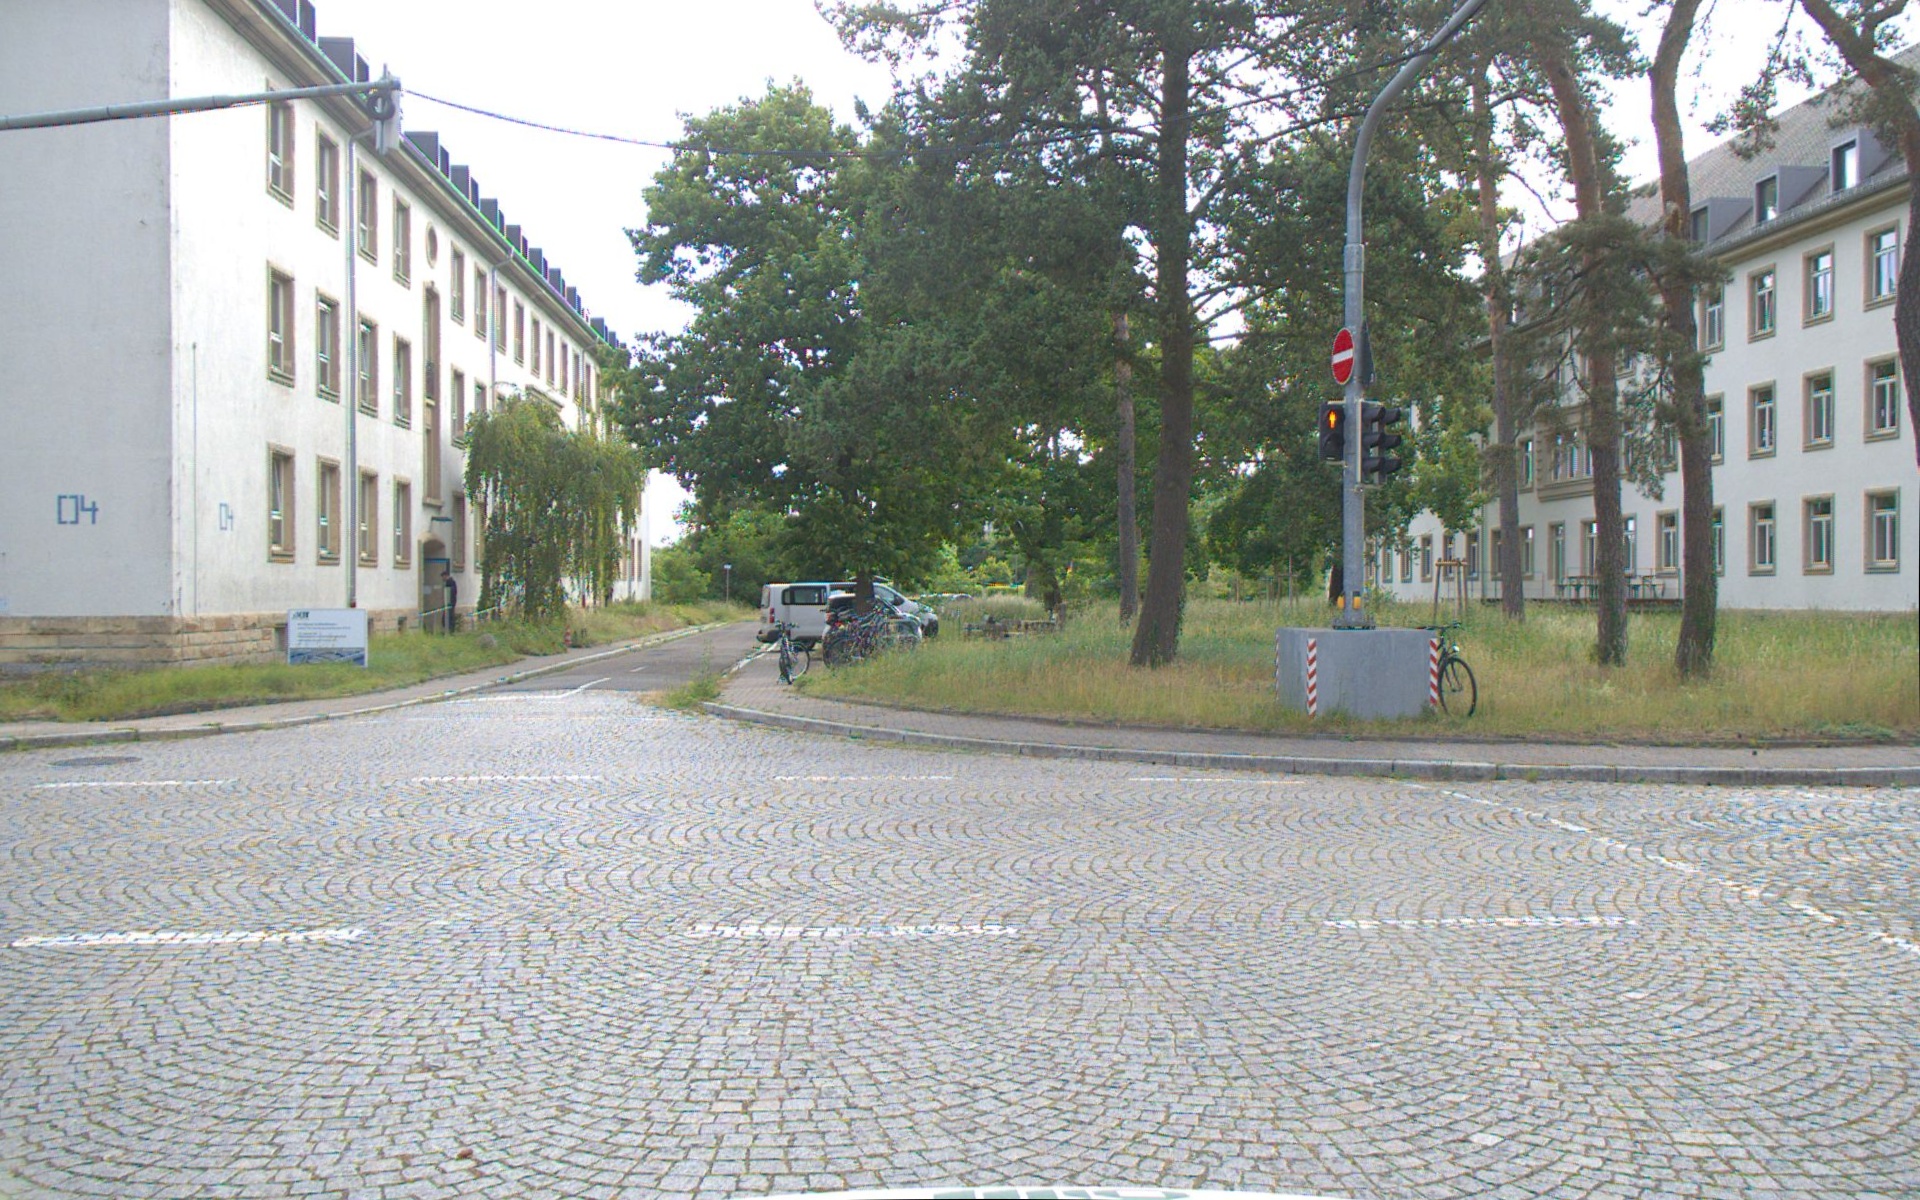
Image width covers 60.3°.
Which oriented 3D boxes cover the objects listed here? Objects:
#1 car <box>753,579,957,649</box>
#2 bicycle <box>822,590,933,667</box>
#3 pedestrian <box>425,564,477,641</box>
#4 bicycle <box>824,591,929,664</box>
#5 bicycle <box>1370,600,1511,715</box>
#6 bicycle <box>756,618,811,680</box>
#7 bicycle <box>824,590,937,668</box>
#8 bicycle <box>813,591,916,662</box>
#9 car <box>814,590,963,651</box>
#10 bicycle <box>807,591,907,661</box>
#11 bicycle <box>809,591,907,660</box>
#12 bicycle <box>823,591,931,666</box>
[{"bbox_3d":[-3.060,0.375,47.992,5.600,1.944,2.220,0,0,-16],"label":"car"},{"bbox_3d":[-1.538,0.526,30.848,2.028,1.402,0.619,0,0,-3],"label":"bicycle"},{"bbox_3d":[-13.797,0.072,44.845,1.064,2.049,1.022,0,0,1],"label":"pedestrian"},{"bbox_3d":[-1.625,0.530,32.266,2.028,1.402,0.619,0,0,-3],"label":"bicycle"},{"bbox_3d":[5.292,0.609,18.347,0.891,1.197,1.872,0,0,-5],"label":"bicycle"},{"bbox_3d":[-2.995,0.816,28.279,0.605,0.980,2.077,0,0,3],"label":"bicycle"},{"bbox_3d":[-1.452,0.525,30.182,2.028,1.402,0.619,0,0,-3],"label":"bicycle"},{"bbox_3d":[-1.898,0.523,33.048,2.028,1.402,0.619,0,0,-3],"label":"bicycle"},{"bbox_3d":[-1.968,0.536,44.691,3.859,1.571,1.996,0,0,-9],"label":"car"},{"bbox_3d":[-2.094,0.522,33.773,2.028,1.402,0.619,0,0,-3],"label":"bicycle"},{"bbox_3d":[-2.129,0.525,34.520,2.028,1.402,0.619,0,0,-3],"label":"bicycle"},{"bbox_3d":[-1.582,0.527,31.471,2.028,1.402,0.619,0,0,-3],"label":"bicycle"}]
